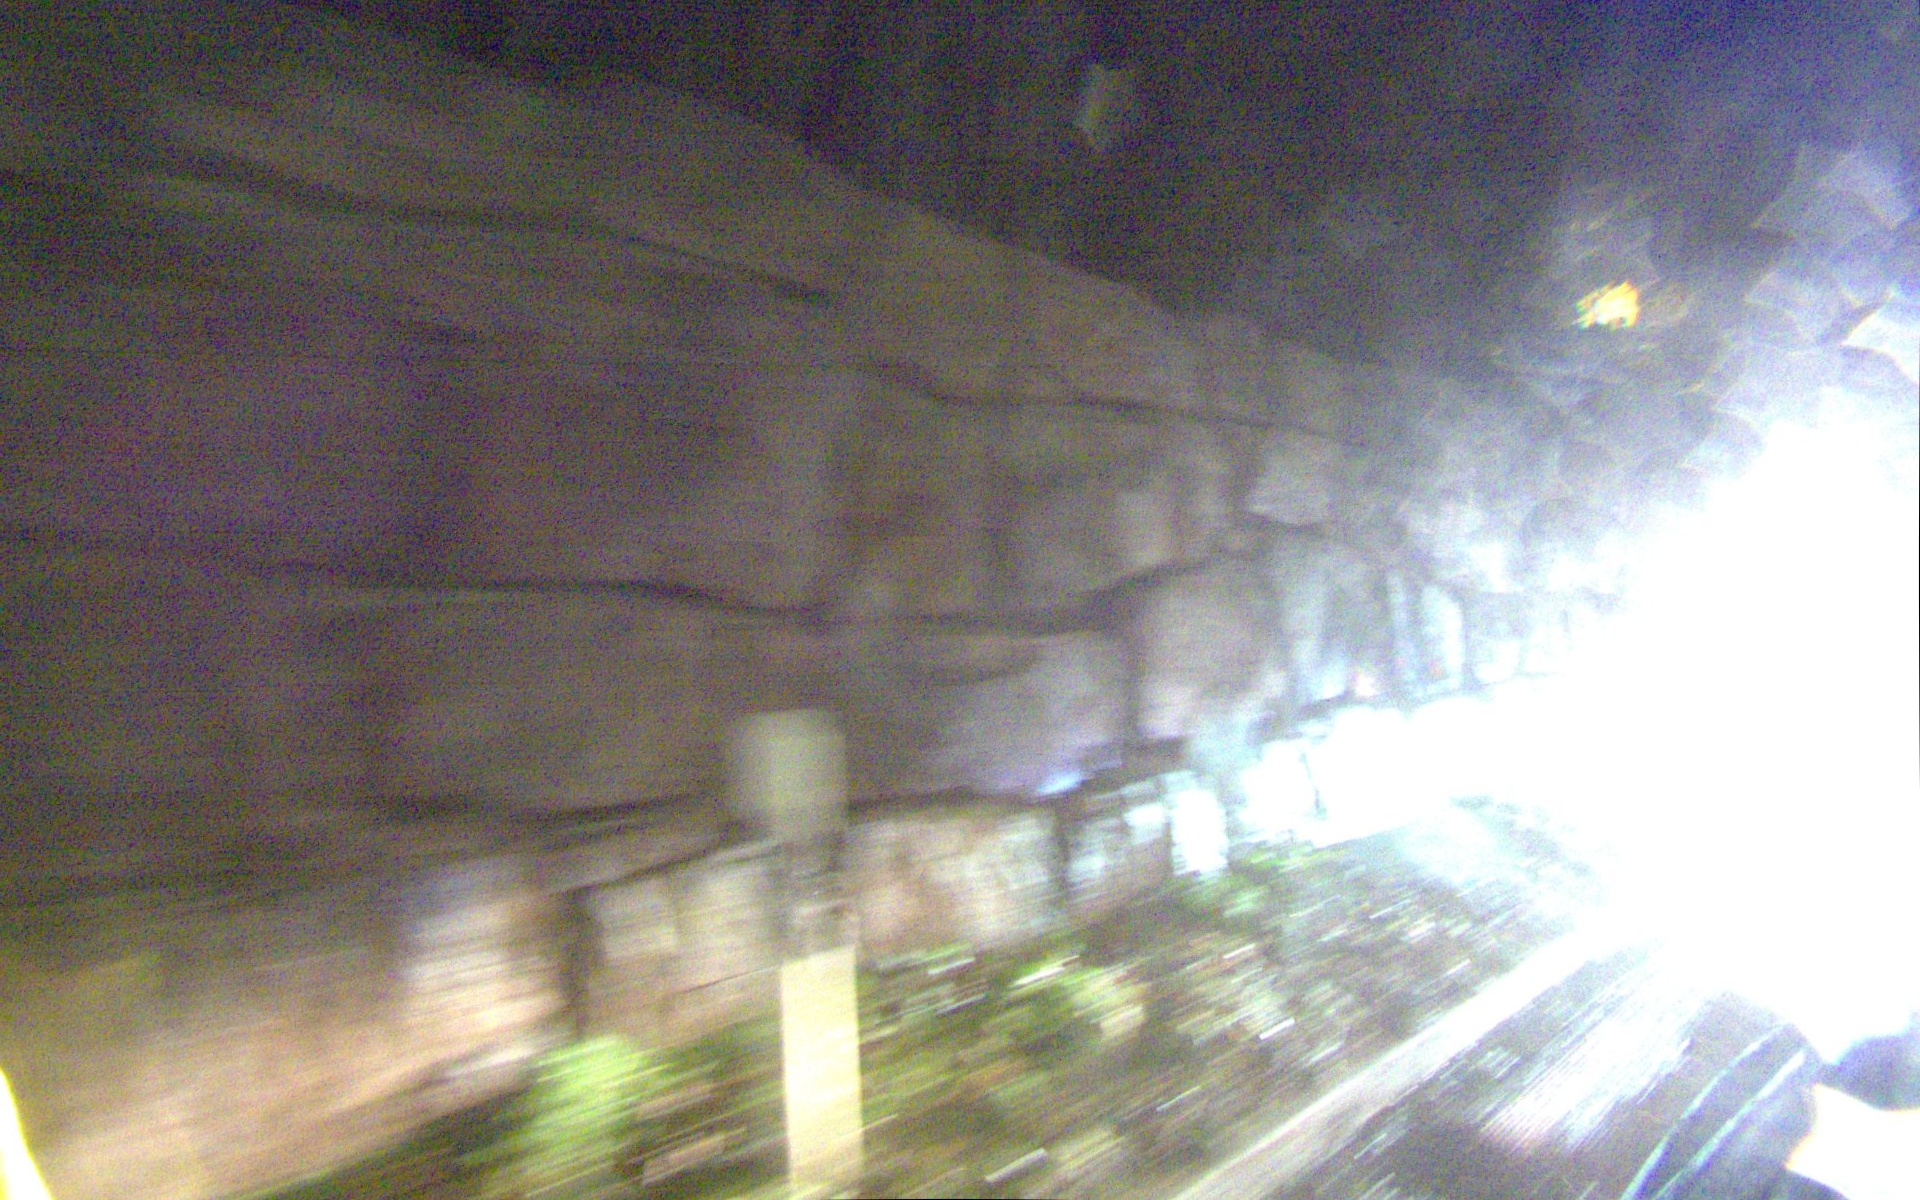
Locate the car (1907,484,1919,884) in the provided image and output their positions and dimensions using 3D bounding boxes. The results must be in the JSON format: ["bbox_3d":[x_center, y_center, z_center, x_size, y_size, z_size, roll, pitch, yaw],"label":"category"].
[{"bbox_3d":[6.630,0.381,5.257,4.129,1.858,1.878,-1,2,-38],"label":"car"}]
